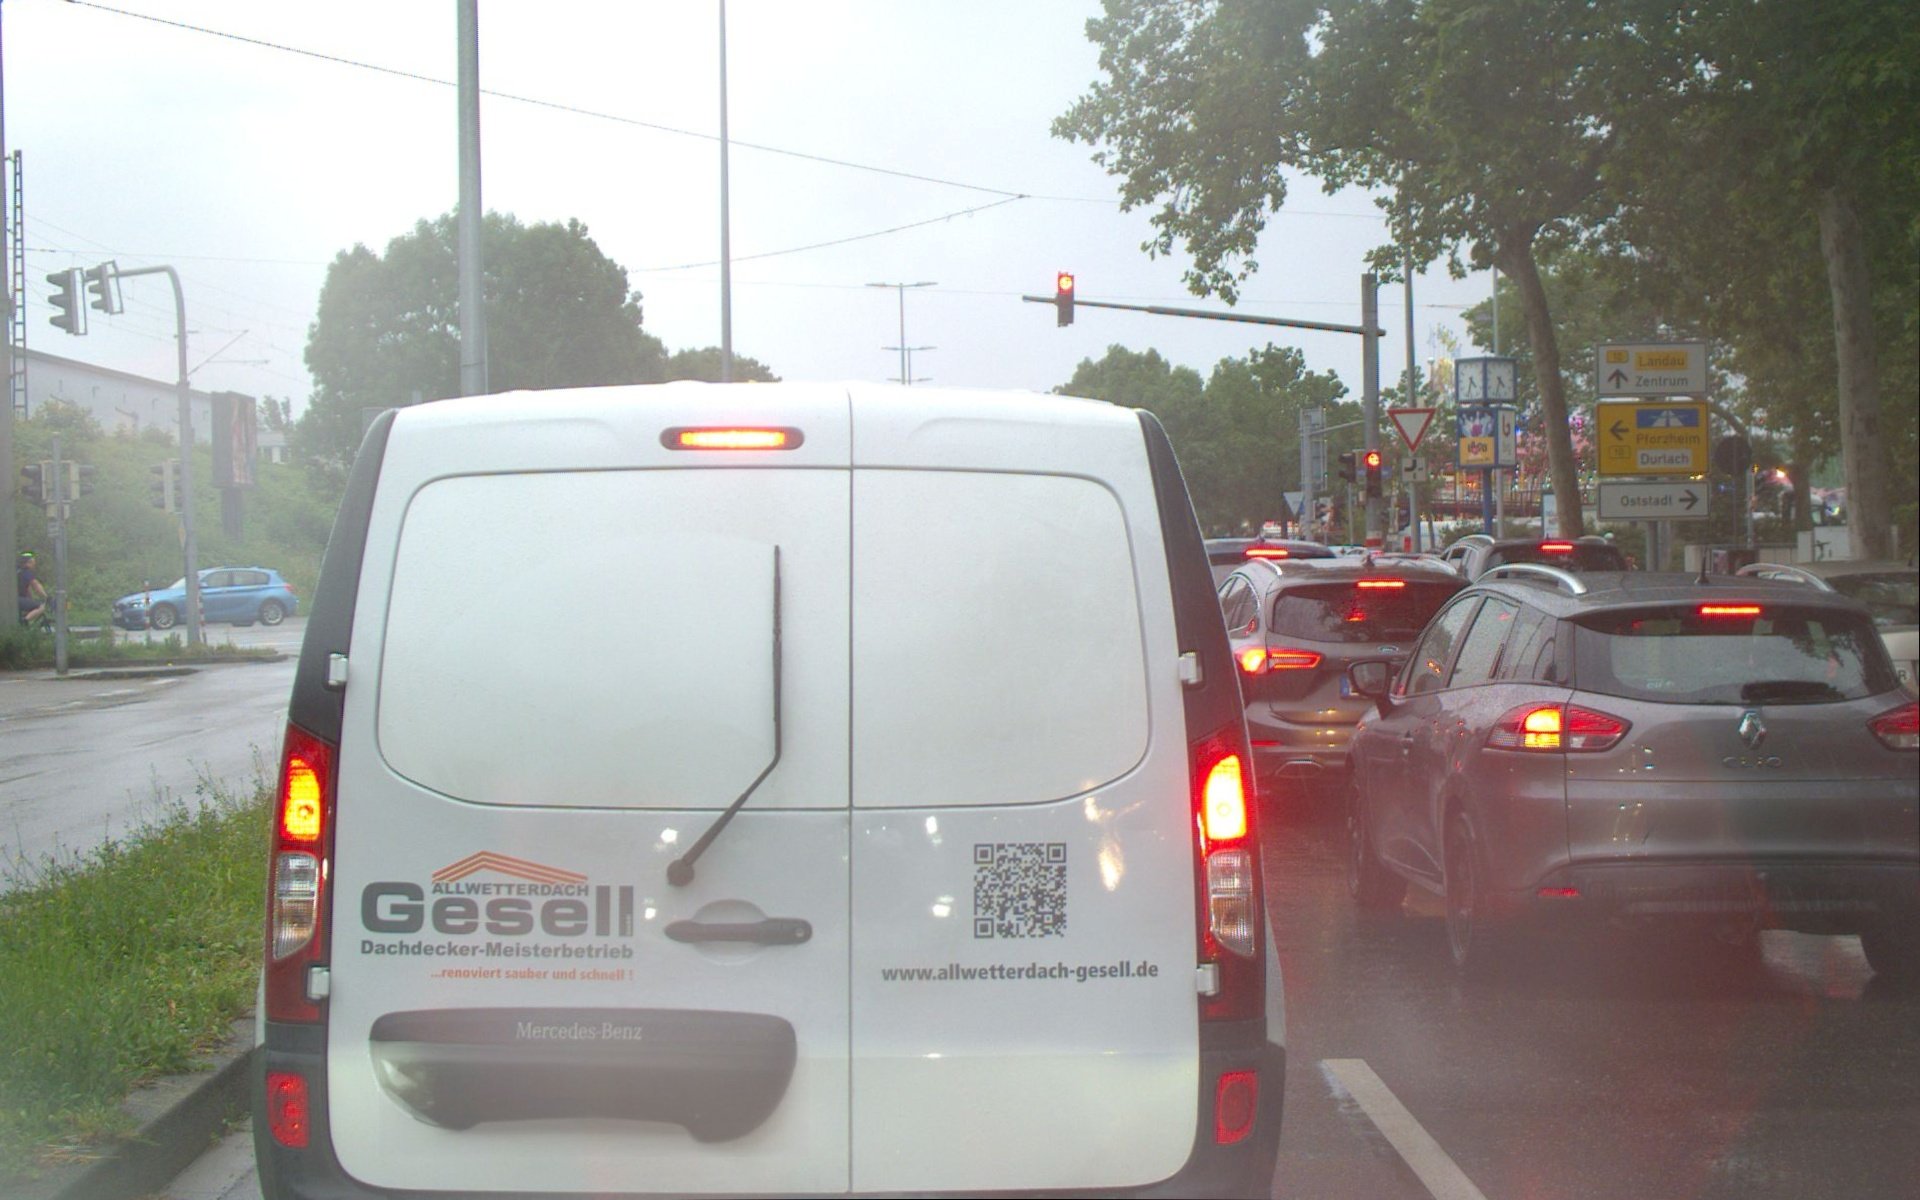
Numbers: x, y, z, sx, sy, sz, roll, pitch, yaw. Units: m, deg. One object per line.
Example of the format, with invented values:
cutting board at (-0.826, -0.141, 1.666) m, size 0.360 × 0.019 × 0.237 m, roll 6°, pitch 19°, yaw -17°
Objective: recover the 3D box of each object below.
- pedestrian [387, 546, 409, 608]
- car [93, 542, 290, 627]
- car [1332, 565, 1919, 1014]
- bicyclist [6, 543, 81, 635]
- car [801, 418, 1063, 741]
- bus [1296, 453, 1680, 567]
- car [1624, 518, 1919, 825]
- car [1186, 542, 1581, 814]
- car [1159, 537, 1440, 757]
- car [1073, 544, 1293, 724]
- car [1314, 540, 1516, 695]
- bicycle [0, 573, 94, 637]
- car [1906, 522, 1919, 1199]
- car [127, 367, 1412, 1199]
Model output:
pedestrian at (-15.714, -0.642, 96.165) m, size 0.543 × 1.710 × 0.563 m, roll 1°, pitch 0°, yaw -4°
car at (-17.845, -0.362, 79.900) m, size 3.987 × 1.881 × 2.000 m, roll 0°, pitch 2°, yaw -34°
car at (2.522, 0.601, 13.117) m, size 1.683 × 1.403 × 3.843 m, roll 1°, pitch 1°, yaw -1°
bicyclist at (-14.801, -0.186, 55.518) m, size 1.040 × 1.445 × 0.729 m, roll -2°, pitch 2°, yaw -25°
car at (-0.220, -0.188, 26.361) m, size 1.854 × 2.288 × 3.843 m, roll 0°, pitch 1°, yaw -1°
bus at (16.956, -2.914, 110.871) m, size 11.970 × 3.411 × 2.315 m, roll -1°, pitch 1°, yaw 0°
car at (5.284, 0.345, 20.269) m, size 1.876 × 1.607 × 4.000 m, roll 1°, pitch 1°, yaw -1°
car at (2.430, 0.390, 20.628) m, size 1.854 × 1.455 × 3.843 m, roll 0°, pitch 1°, yaw -1°
car at (2.671, 0.322, 27.855) m, size 1.854 × 1.644 × 3.843 m, roll 0°, pitch 1°, yaw -1°
car at (2.113, 0.295, 33.519) m, size 1.854 × 1.644 × 3.843 m, roll 0°, pitch 1°, yaw -1°
car at (5.053, 0.165, 38.628) m, size 1.708 × 1.644 × 3.843 m, roll 0°, pitch 1°, yaw -1°
bicycle at (-14.819, 0.060, 55.569) m, size 1.040 × 0.949 × 2.889 m, roll -2°, pitch 2°, yaw -25°
car at (2.975, 0.645, 5.404) m, size 1.747 × 1.549 × 4.091 m, roll 0°, pitch 1°, yaw -1°
car at (-0.318, 0.477, 7.646) m, size 1.993 × 1.770 × 4.585 m, roll 0°, pitch 1°, yaw -1°
